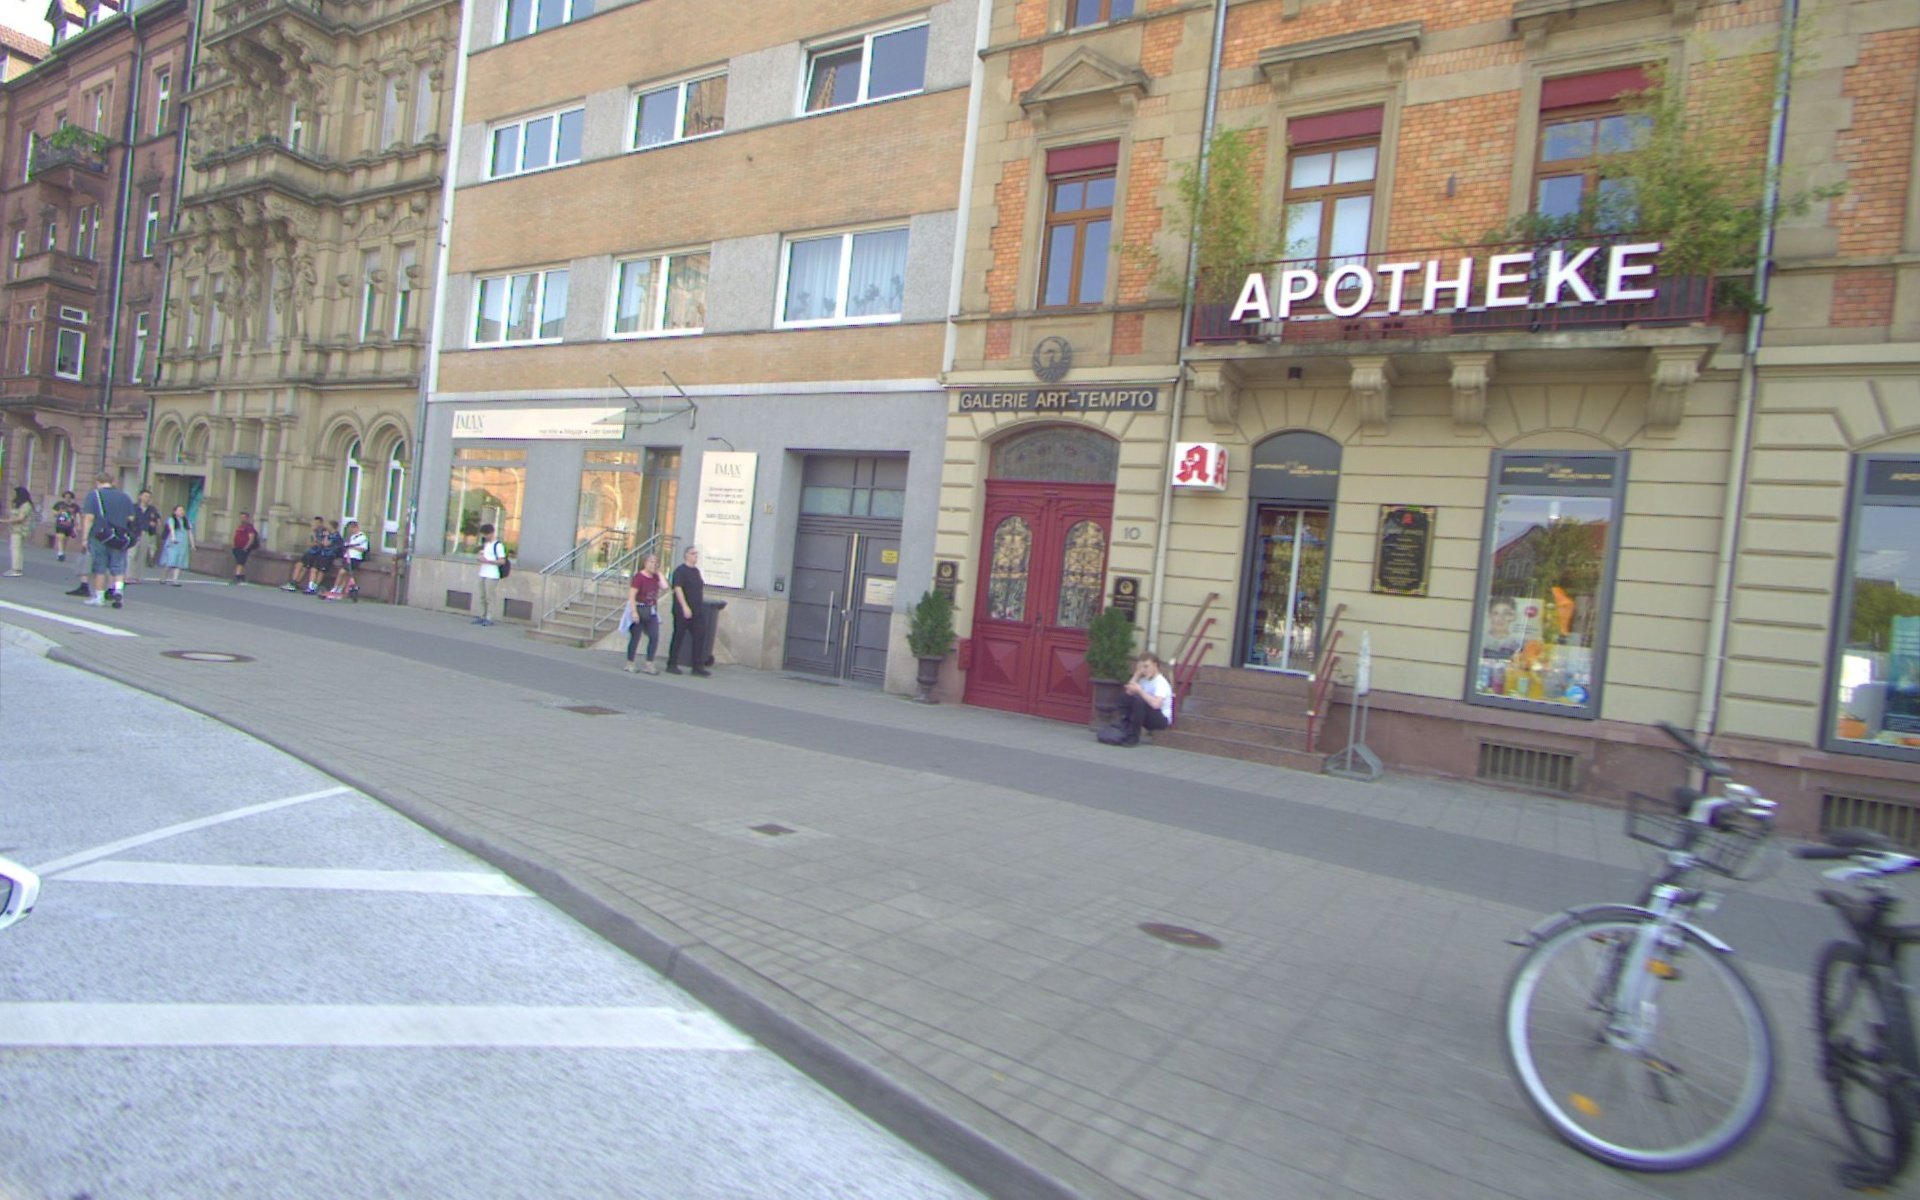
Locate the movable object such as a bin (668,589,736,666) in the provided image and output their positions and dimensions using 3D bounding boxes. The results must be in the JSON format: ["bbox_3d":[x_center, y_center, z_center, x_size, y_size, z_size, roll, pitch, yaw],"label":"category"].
[{"bbox_3d":[-3.979,0.429,15.549,0.657,1.094,0.739,6,1,14],"label":"movable object such as a bin"}]

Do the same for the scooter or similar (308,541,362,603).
[{"bbox_3d":[-13.067,-0.597,21.022,1.132,1.178,0.360,6,1,29],"label":"scooter or similar"}]

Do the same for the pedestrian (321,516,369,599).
[{"bbox_3d":[-13.618,-0.931,22.294,0.502,1.753,0.604,7,1,28],"label":"pedestrian"}]

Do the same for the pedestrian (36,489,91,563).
[{"bbox_3d":[-22.761,-1.878,25.546,0.882,1.746,0.701,7,1,31],"label":"pedestrian"}]

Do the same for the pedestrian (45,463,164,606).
[{"bbox_3d":[-11.944,-0.900,14.063,0.787,1.855,0.927,6,1,28],"label":"pedestrian"}]

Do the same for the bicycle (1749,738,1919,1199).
[{"bbox_3d":[2.402,0.991,2.402,0.378,1.163,1.636,6,0,26],"label":"bicycle"}]

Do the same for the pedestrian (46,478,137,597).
[{"bbox_3d":[-13.716,-0.971,15.890,0.787,1.750,0.751,6,1,28],"label":"pedestrian"}]

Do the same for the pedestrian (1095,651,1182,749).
[{"bbox_3d":[2.002,1.120,11.301,0.608,0.994,0.629,5,1,-39],"label":"pedestrian"}]

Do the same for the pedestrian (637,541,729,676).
[{"bbox_3d":[-3.931,0.123,14.286,0.842,1.810,0.720,6,1,32],"label":"pedestrian"}]

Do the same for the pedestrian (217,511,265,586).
[{"bbox_3d":[-16.954,-1.213,23.730,0.577,1.675,0.604,6,1,28],"label":"pedestrian"}]

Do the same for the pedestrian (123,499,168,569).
[{"bbox_3d":[-21.664,-1.757,26.751,0.679,1.740,0.630,7,1,31],"label":"pedestrian"}]

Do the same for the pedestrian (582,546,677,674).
[{"bbox_3d":[-4.505,0.144,13.735,0.842,1.630,0.720,6,1,32],"label":"pedestrian"}]

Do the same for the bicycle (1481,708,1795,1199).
[{"bbox_3d":[2.232,1.004,3.385,0.592,1.163,1.634,6,0,33],"label":"bicycle"}]

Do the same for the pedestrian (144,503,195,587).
[{"bbox_3d":[-16.334,-1.138,20.795,0.799,1.630,0.486,6,1,32],"label":"pedestrian"}]

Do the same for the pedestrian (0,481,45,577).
[{"bbox_3d":[-18.141,-1.360,19.323,0.606,1.750,0.566,6,1,28],"label":"pedestrian"}]

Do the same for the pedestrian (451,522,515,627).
[{"bbox_3d":[-8.867,-0.471,18.693,0.729,1.855,0.604,6,1,28],"label":"pedestrian"}]

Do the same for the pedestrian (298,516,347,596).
[{"bbox_3d":[-14.446,-0.999,22.793,0.577,1.713,0.604,7,1,28],"label":"pedestrian"}]

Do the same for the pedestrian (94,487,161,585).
[{"bbox_3d":[-16.687,-1.286,20.168,1.054,1.827,0.617,6,1,32],"label":"pedestrian"}]

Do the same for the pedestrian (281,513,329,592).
[{"bbox_3d":[-15.040,-1.084,23.095,0.577,1.713,0.604,7,1,28],"label":"pedestrian"}]
